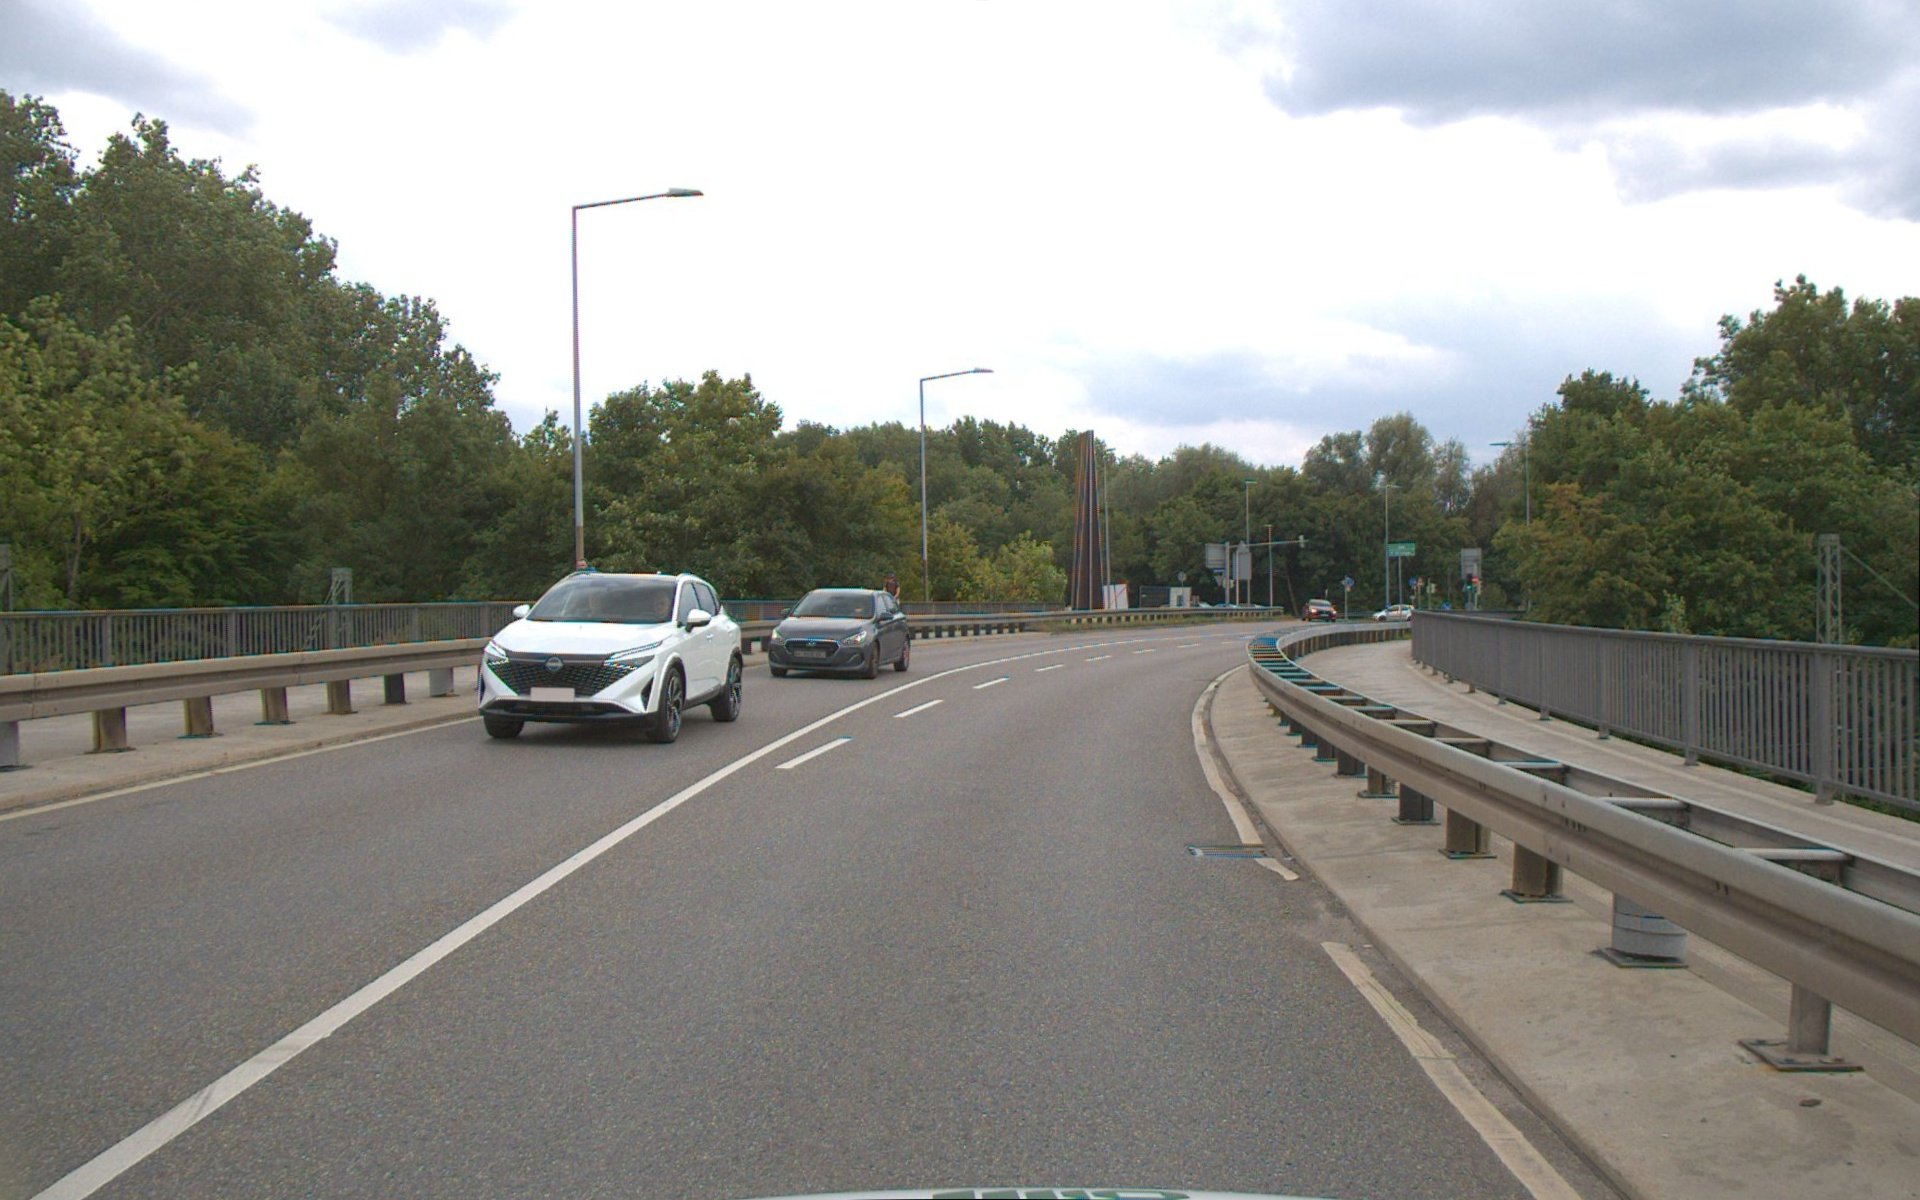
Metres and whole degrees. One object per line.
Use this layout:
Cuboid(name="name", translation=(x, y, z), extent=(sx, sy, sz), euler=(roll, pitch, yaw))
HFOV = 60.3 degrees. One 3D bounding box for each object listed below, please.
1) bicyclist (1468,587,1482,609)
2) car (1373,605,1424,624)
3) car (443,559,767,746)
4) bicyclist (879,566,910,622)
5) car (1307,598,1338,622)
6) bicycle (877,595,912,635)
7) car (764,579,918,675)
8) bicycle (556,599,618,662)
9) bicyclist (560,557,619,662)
Cuboid(name="bicyclist", translation=(41.867, -0.133, 134.409), extent=(0.789, 1.765, 0.738), euler=(1, -2, -30))
Cuboid(name="car", translation=(37.582, 1.240, 141.776), extent=(3.903, 1.579, 2.001), euler=(1, 0, 3))
Cuboid(name="car", translation=(-3.454, 0.462, 17.147), extent=(1.899, 1.621, 4.777), euler=(1, 0, 5))
Cuboid(name="bicyclist", translation=(-1.964, -0.170, 49.830), extent=(0.755, 1.660, 0.650), euler=(1, -1, 13))
Cuboid(name="car", translation=(23.829, 0.658, 108.686), extent=(1.757, 1.497, 4.639), euler=(1, 0, 14))
Cuboid(name="bicycle", translation=(-1.968, 0.443, 49.915), extent=(0.621, 1.194, 1.908), euler=(1, 0, 10))
Cuboid(name="car", translation=(-1.968, 0.431, 28.651), extent=(1.770, 1.502, 4.386), euler=(1, 0, 8))
Cuboid(name="bicycle", translation=(-6.697, 0.539, 29.797), extent=(0.632, 1.086, 1.762), euler=(1, 0, 2))
Cuboid(name="bicyclist", translation=(-6.688, 0.166, 29.857), extent=(0.831, 1.840, 0.797), euler=(1, 0, 2))
